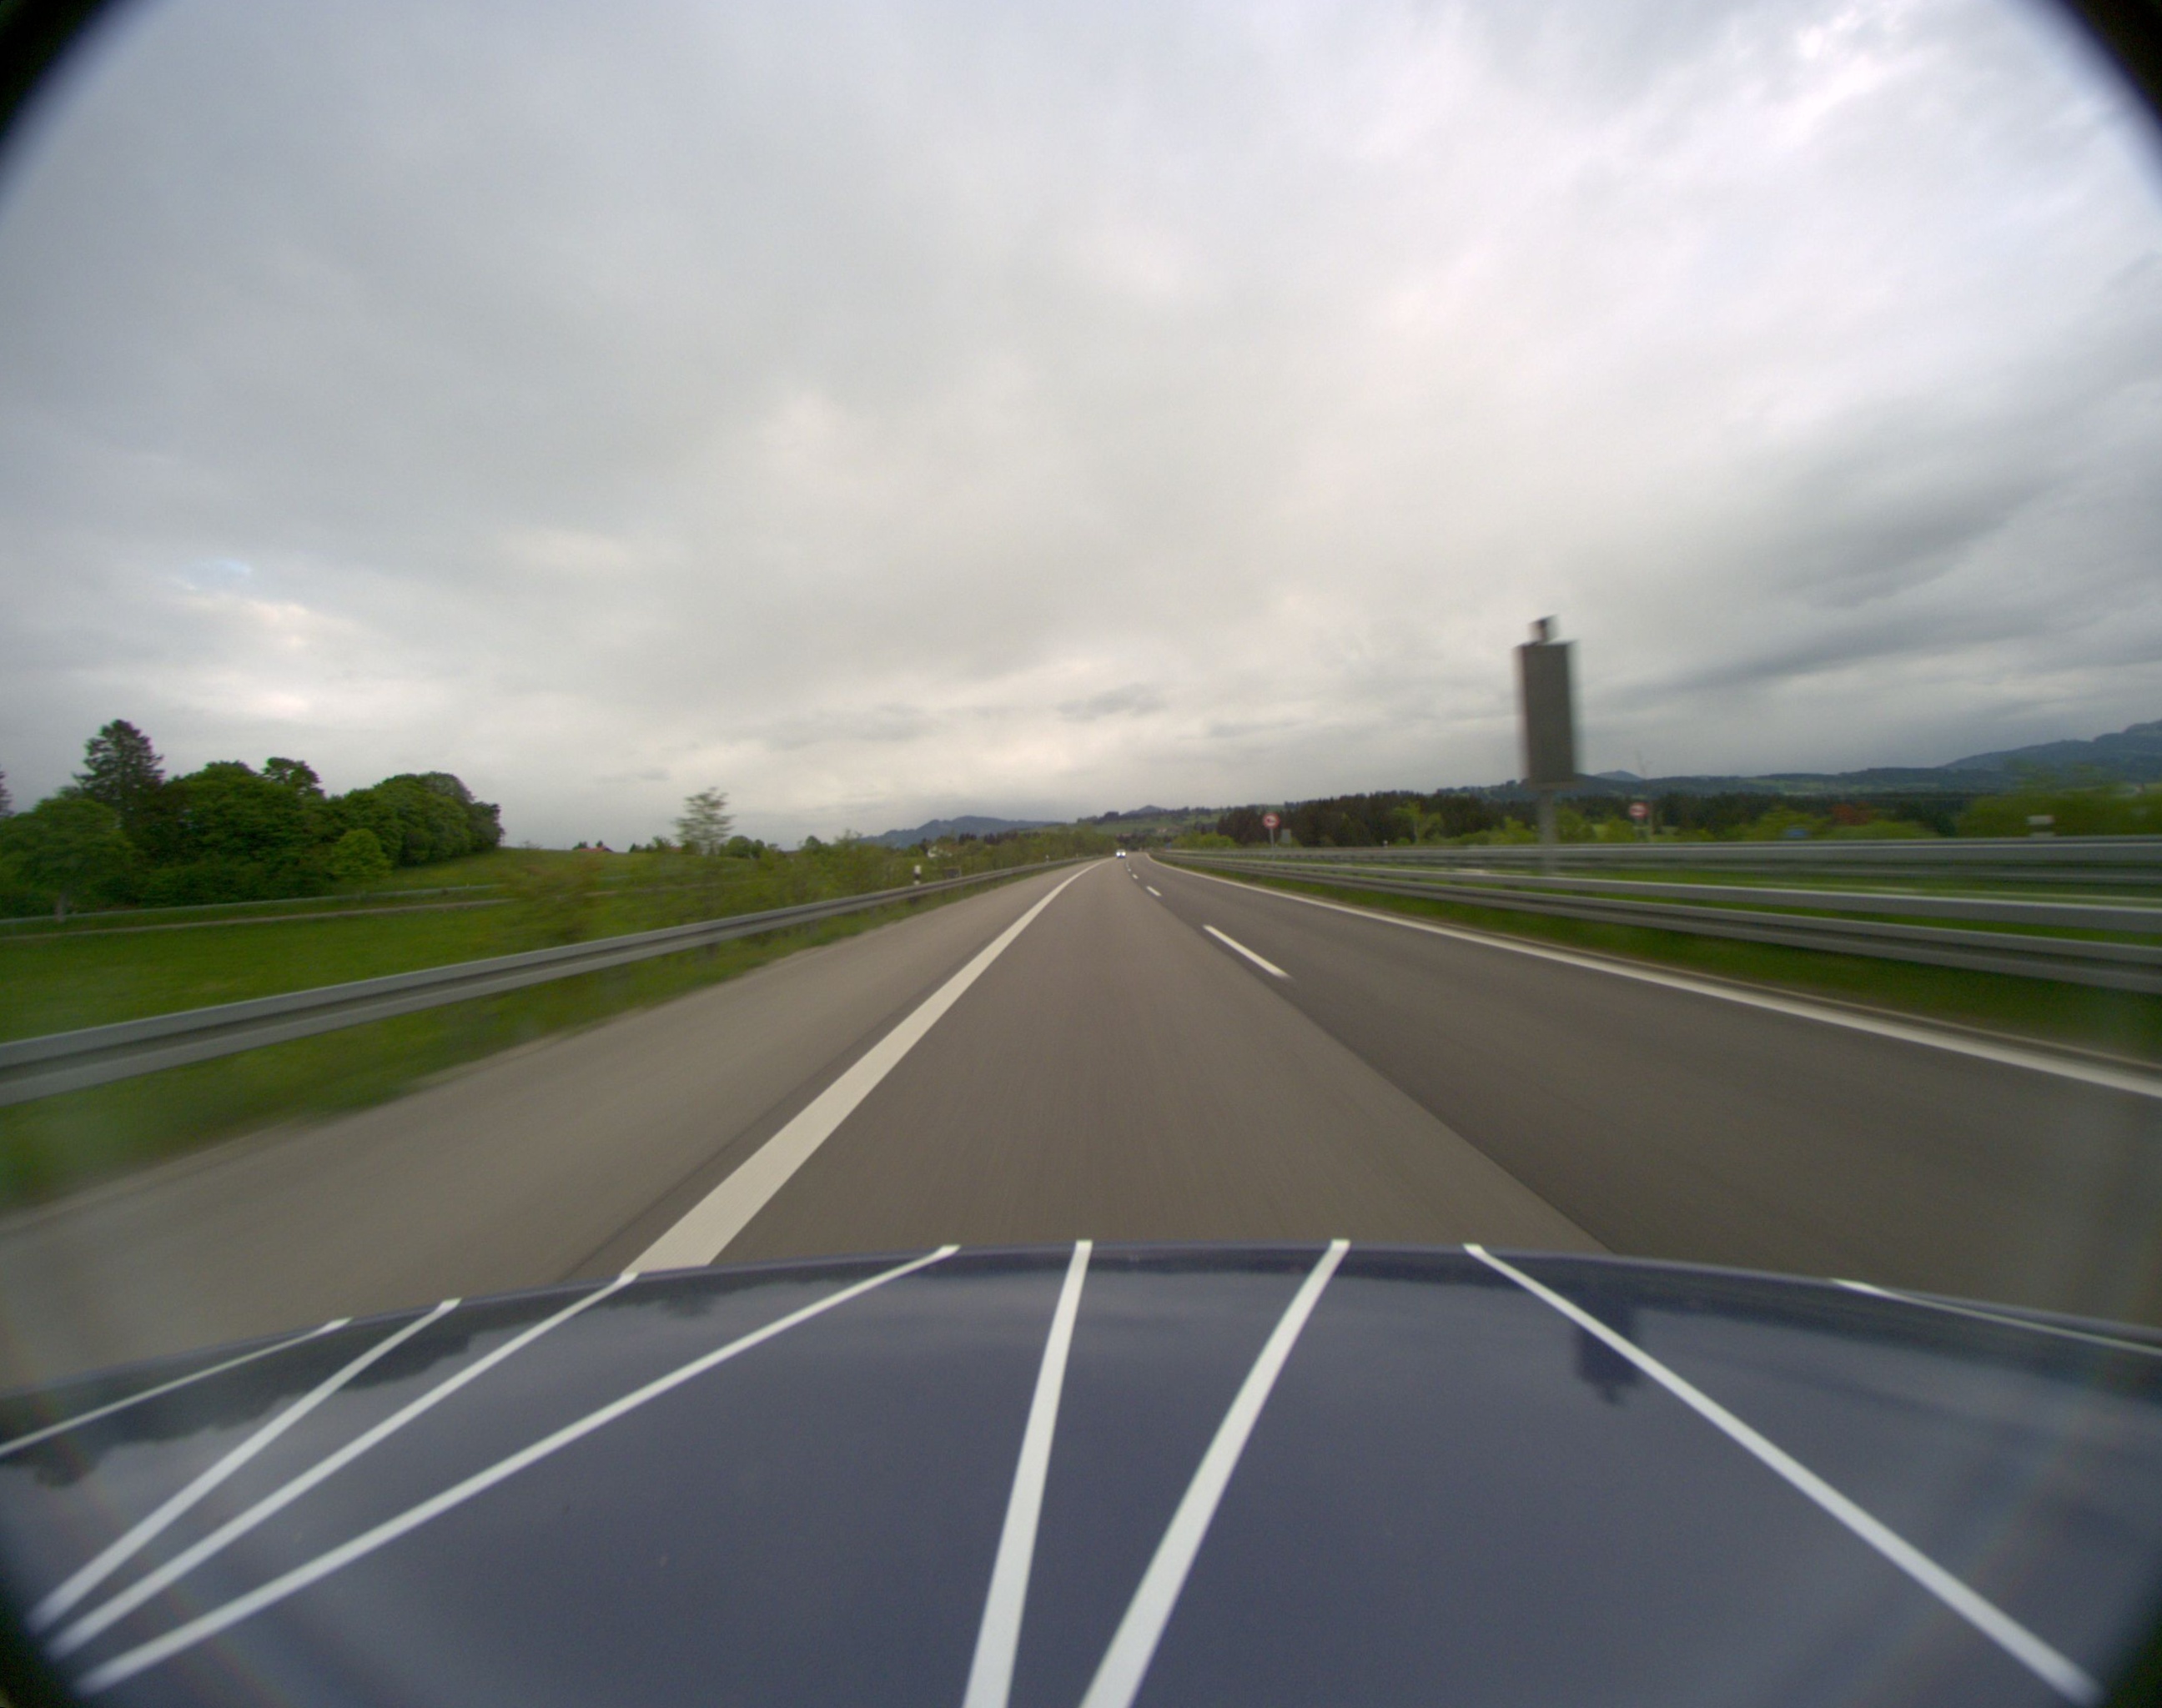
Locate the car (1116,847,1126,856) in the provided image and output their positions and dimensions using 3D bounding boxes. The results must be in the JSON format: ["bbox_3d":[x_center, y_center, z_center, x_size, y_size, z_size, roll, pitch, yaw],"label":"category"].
[{"bbox_3d":[8.689,-0.562,165.740,2.020,1.899,4.222,-2,0,5],"label":"car"}]
